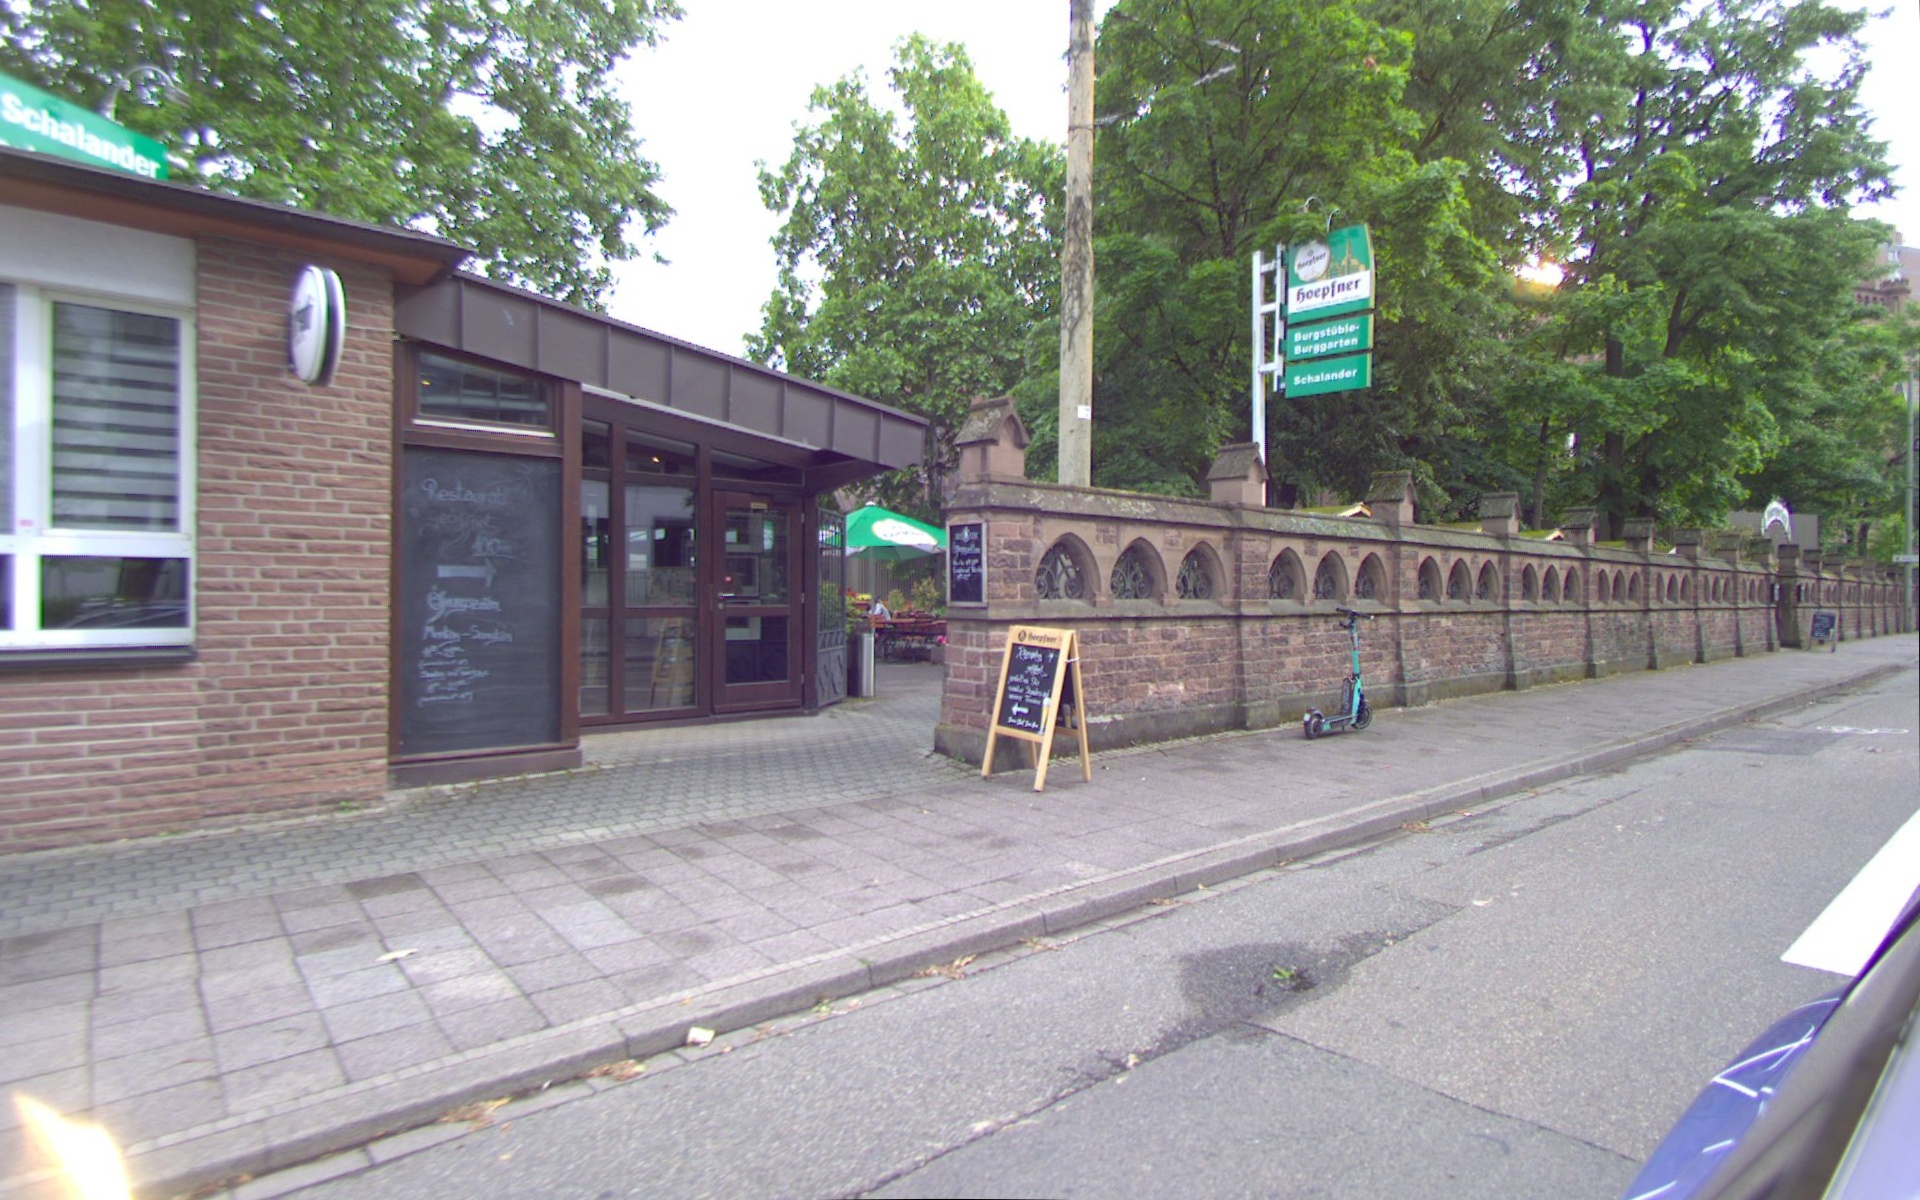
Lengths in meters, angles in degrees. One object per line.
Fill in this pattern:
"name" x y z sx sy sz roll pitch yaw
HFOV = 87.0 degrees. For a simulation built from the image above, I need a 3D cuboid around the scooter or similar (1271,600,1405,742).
"scooter or similar" 3.715 0.650 9.912 1.385 1.254 0.578 0 4 -40
